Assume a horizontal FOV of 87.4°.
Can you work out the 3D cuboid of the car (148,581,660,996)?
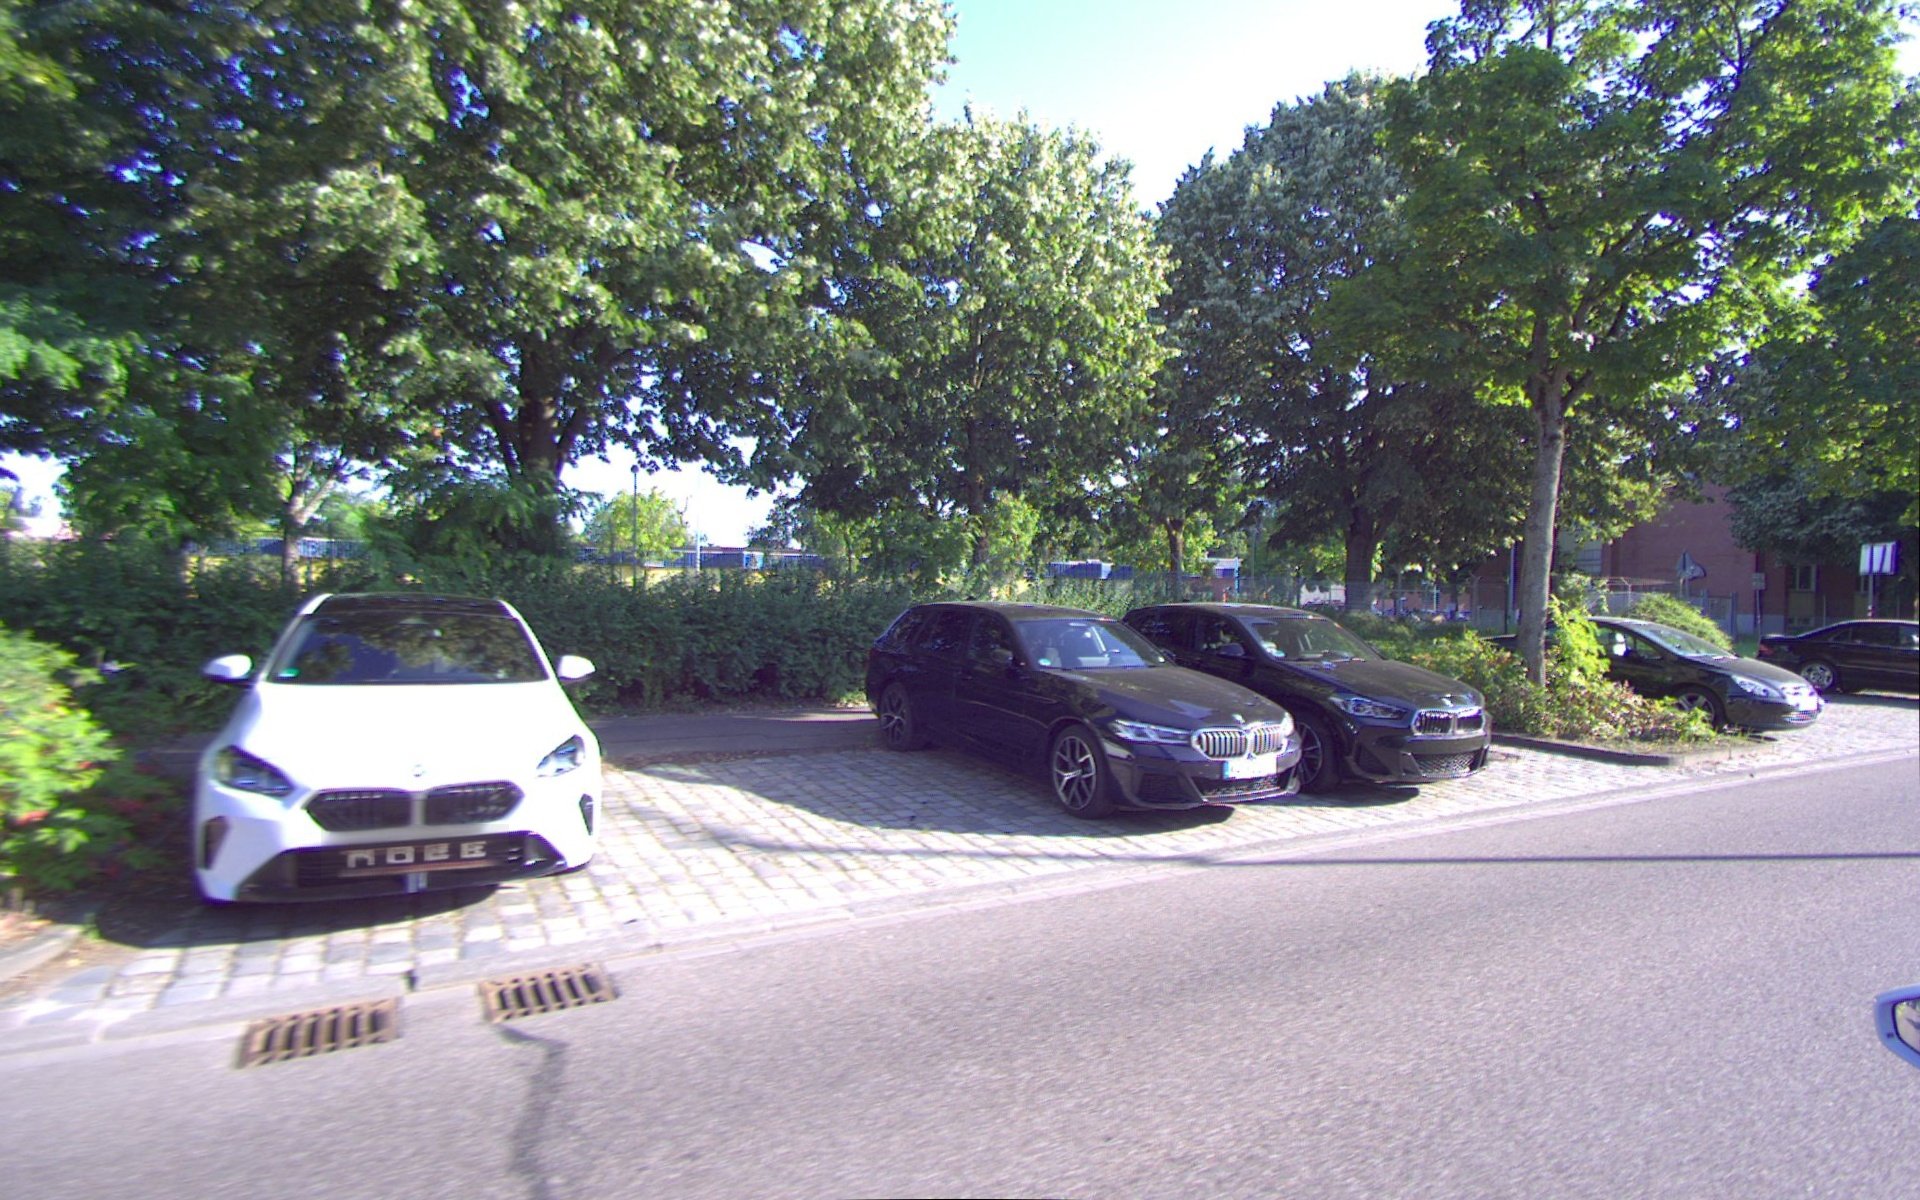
[{"bbox_3d":[-3.364,0.728,6.327,1.976,1.551,4.267,1,2,-29],"label":"car"}]

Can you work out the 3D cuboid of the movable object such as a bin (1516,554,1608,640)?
[{"bbox_3d":[20.440,-0.099,34.309,2.124,2.700,4.800,1,0,24],"label":"movable object such as a bin"}]

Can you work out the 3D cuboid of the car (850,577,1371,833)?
[{"bbox_3d":[0.951,0.642,9.035,1.978,1.551,4.823,1,2,-32],"label":"car"}]

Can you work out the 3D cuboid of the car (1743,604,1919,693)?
[{"bbox_3d":[18.017,0.939,18.709,1.976,1.482,5.011,1,2,-30],"label":"car"}]

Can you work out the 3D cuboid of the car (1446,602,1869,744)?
[{"bbox_3d":[9.531,0.873,14.168,1.976,1.482,4.458,1,2,-30],"label":"car"}]

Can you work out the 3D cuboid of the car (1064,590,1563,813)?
[{"bbox_3d":[3.151,0.756,9.987,1.976,1.551,4.458,1,2,-30],"label":"car"}]
